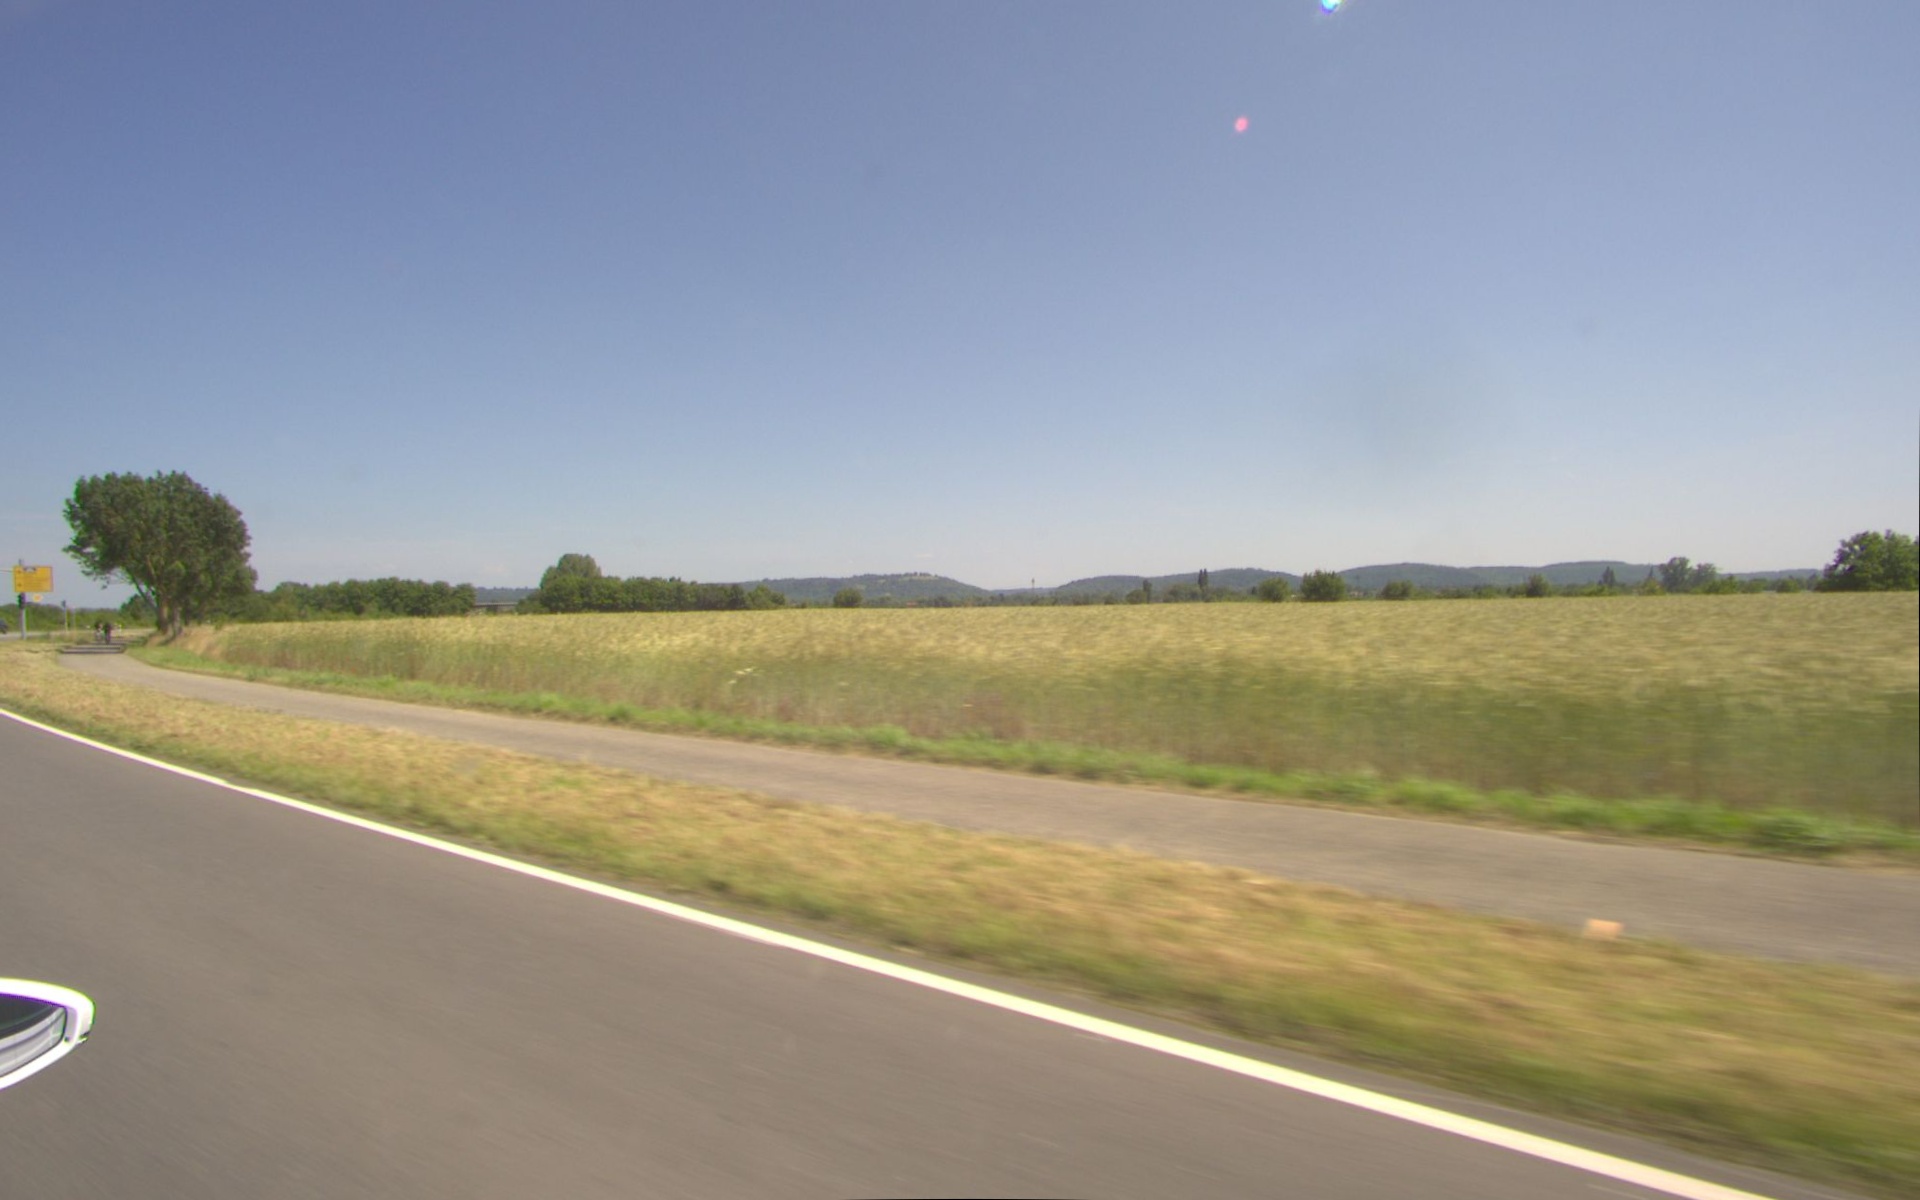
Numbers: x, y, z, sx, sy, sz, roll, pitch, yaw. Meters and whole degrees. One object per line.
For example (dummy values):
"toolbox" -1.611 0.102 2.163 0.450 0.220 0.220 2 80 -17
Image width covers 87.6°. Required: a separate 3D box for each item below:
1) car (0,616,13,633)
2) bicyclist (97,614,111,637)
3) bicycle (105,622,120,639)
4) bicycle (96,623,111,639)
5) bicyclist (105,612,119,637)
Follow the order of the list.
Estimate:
"car" -103.477 2.585 107.482 1.912 1.762 4.855 0 -1 -35
"bicyclist" -66.658 1.966 77.983 0.582 1.756 1.164 4 -2 -33
"bicycle" -64.364 2.321 76.033 0.692 1.225 2.036 3 -3 -37
"bicycle" -66.665 2.435 77.953 0.599 1.191 2.039 3 -3 -33
"bicyclist" -64.309 1.861 75.966 0.622 1.805 0.971 5 -2 -36
